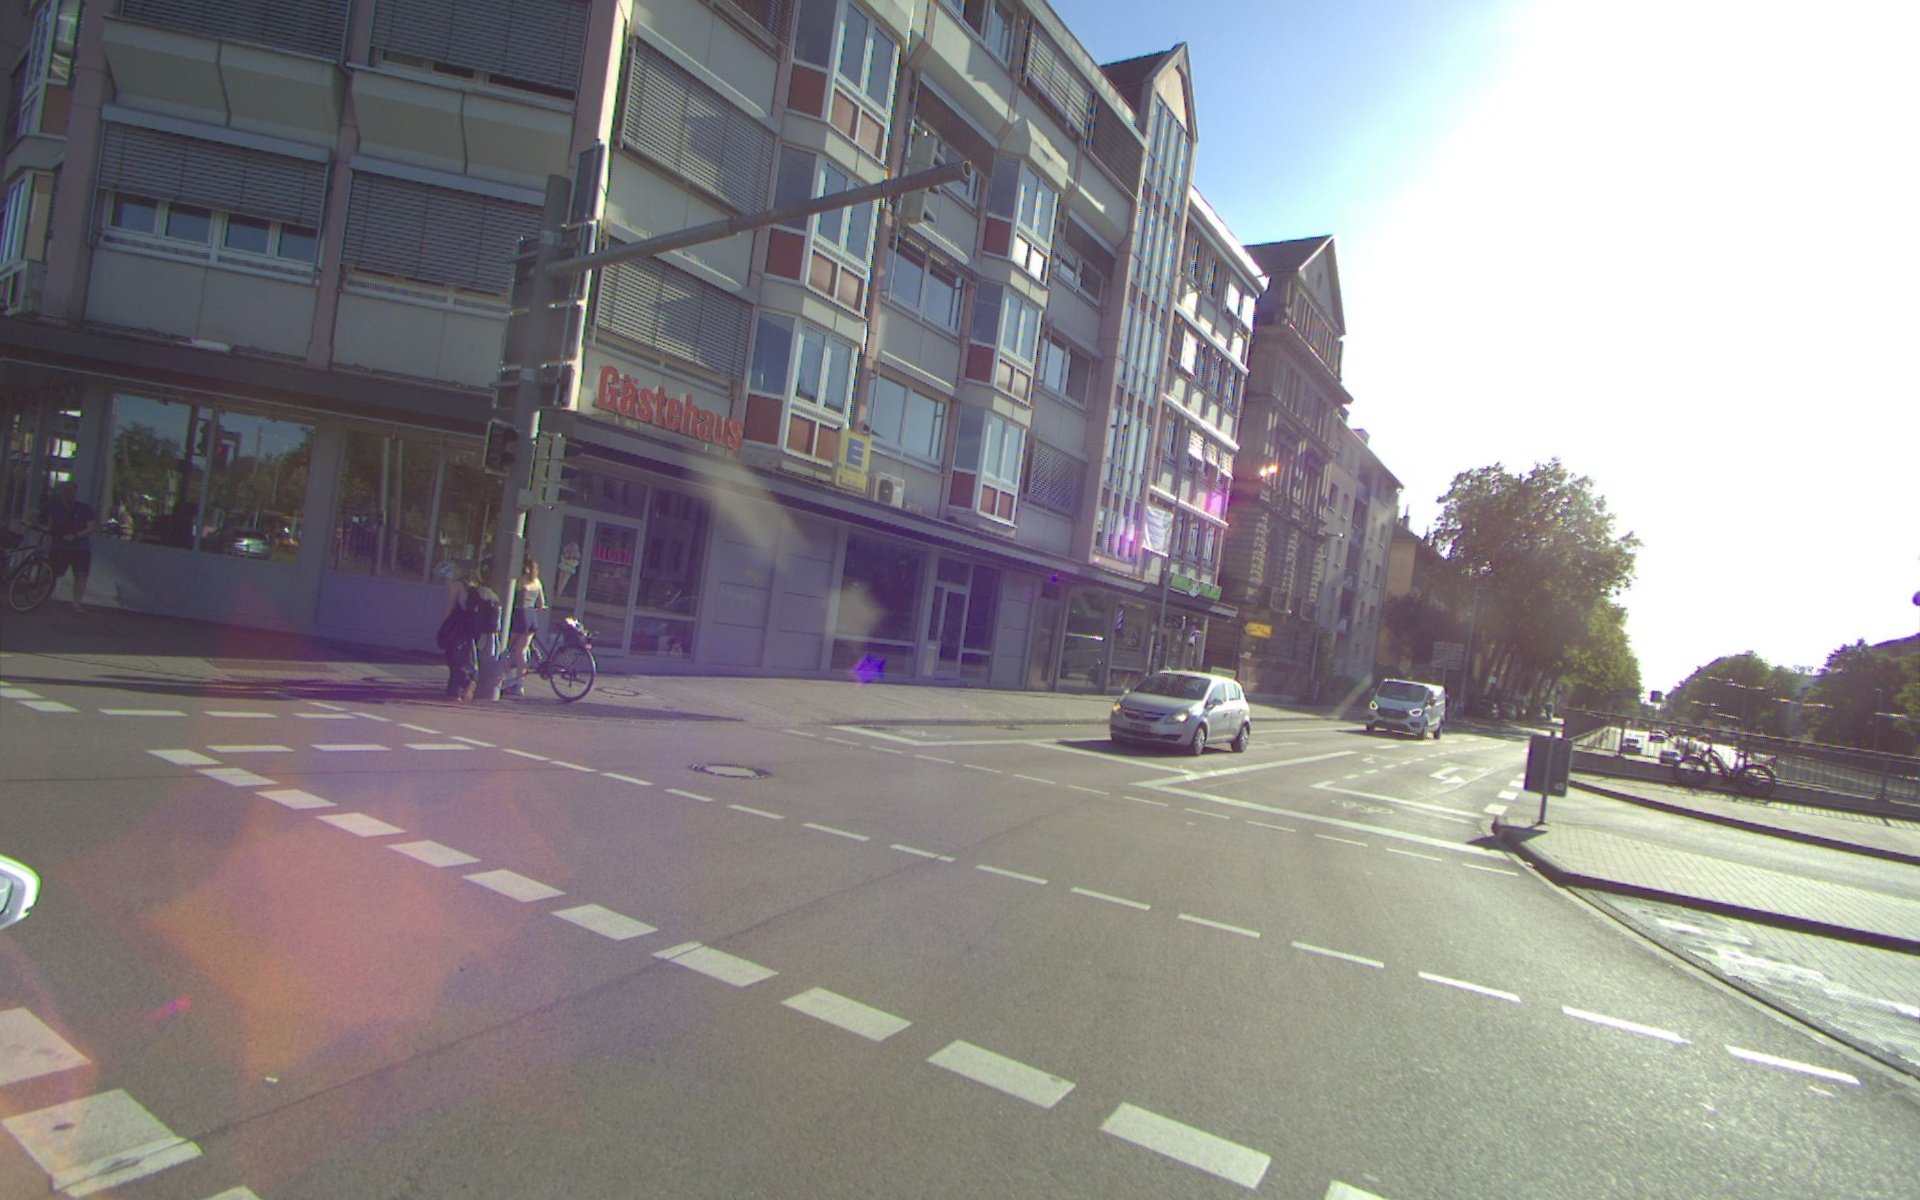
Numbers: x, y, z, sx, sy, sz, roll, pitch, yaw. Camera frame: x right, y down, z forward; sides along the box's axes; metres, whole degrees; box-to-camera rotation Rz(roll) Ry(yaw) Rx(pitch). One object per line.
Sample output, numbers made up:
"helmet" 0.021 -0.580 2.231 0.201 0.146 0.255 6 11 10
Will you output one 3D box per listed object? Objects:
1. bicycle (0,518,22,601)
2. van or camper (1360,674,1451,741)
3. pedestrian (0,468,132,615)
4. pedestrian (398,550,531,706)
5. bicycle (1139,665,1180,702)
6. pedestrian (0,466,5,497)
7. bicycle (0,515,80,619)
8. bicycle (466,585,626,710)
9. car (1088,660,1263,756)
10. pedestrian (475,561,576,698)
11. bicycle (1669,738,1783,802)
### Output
"bicycle" -14.166 -0.689 14.149 2.085 1.115 0.490 8 -1 22
"van or camper" 16.448 3.946 36.967 2.008 1.975 5.251 8 -1 34
"pedestrian" -12.011 -0.760 13.470 0.900 1.775 0.840 8 -1 7
"pedestrian" -5.611 0.328 11.418 0.852 1.595 0.782 9 0 26
"bicycle" 6.575 2.759 33.049 0.527 1.061 1.971 8 -2 32
"pedestrian" -16.195 -1.412 16.285 0.659 1.708 0.688 8 -1 24
"bicycle" -12.321 -0.484 12.989 1.937 1.174 0.490 8 -1 21
"bicycle" -5.257 0.594 12.760 1.873 1.299 0.546 8 -1 22
"car" 4.173 2.060 19.046 1.776 1.448 3.844 5 -3 36
"pedestrian" -5.393 0.369 12.490 0.852 1.572 0.527 8 -1 24
"bicycle" 17.777 3.932 23.401 1.964 1.092 0.596 8 -2 35
